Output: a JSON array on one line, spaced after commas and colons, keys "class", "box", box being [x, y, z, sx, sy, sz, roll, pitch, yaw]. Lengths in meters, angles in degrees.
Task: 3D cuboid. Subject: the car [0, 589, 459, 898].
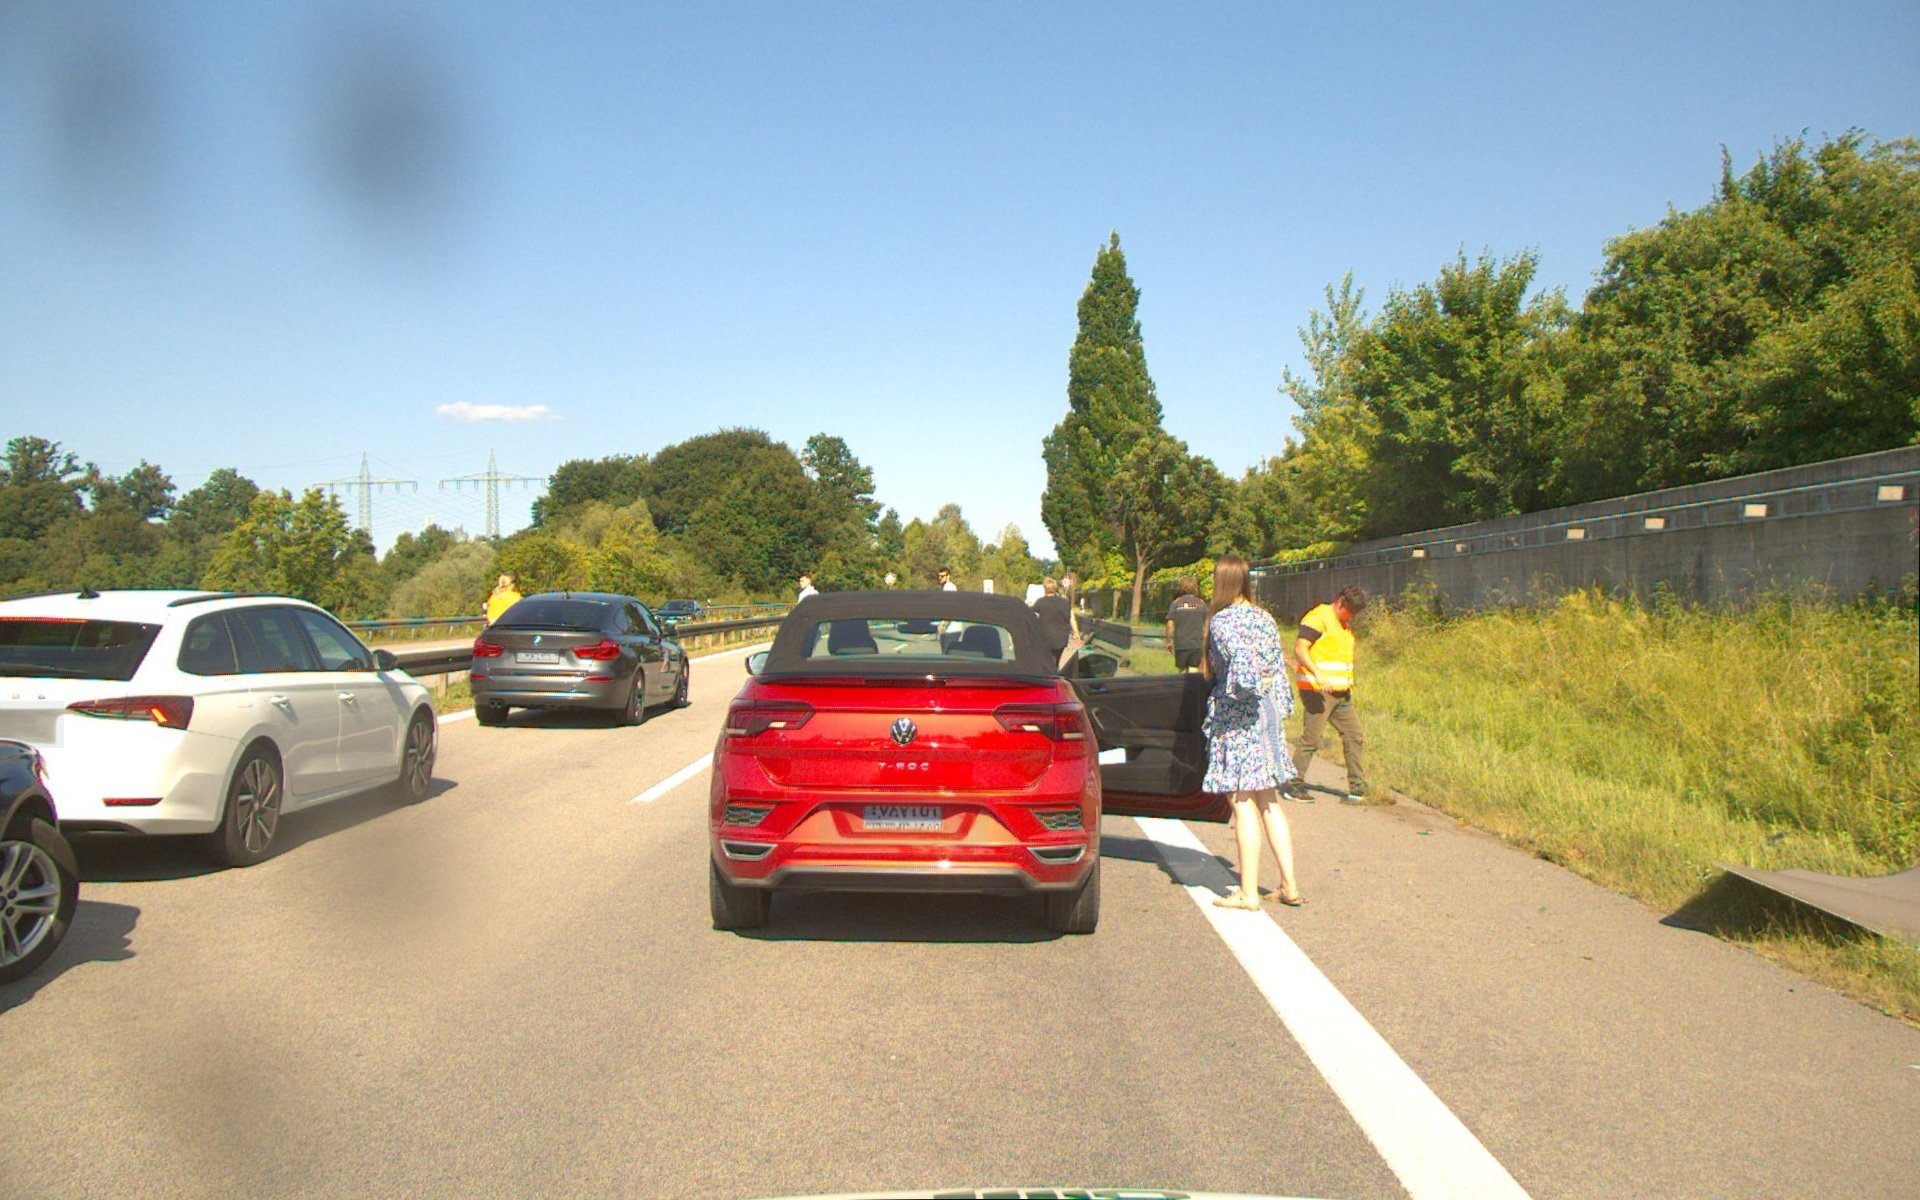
[{"class": "car", "box": [-4.523, 0.680, 10.048, 1.660, 1.467, 4.210, 1, 0, 0]}]

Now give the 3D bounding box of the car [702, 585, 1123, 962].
[{"class": "car", "box": [-0.190, 0.700, 8.854, 1.697, 1.513, 4.210, 1, 0, 0]}]

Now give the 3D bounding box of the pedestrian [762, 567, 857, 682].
[{"class": "pedestrian", "box": [-2.453, 0.387, 27.045, 1.086, 1.820, 1.086, 1, -1, 38]}]

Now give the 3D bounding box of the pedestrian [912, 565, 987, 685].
[{"class": "pedestrian", "box": [-0.182, 0.408, 27.648, 1.085, 1.946, 1.255, -1, 0, -8]}]

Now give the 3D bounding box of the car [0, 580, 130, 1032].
[{"class": "car", "box": [-3.957, 0.693, 4.433, 1.755, 1.519, 4.484, -1, -1, -8]}]

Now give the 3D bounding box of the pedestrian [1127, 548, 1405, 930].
[{"class": "pedestrian", "box": [1.485, 0.625, 8.179, 0.878, 1.725, 1.121, -1, 0, -23]}]

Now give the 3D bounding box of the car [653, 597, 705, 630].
[{"class": "car", "box": [-13.216, 0.620, 78.047, 1.677, 1.450, 4.406, 1, 0, 0]}]

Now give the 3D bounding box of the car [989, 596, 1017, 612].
[{"class": "car", "box": [4.228, 0.358, 162.162, 1.696, 1.513, 4.213, 1, 0, 16]}]

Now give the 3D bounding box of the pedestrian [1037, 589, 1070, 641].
[{"class": "pedestrian", "box": [3.180, 0.510, 56.019, 1.033, 1.719, 1.018, 1, 0, 7]}]

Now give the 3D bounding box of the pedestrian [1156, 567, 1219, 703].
[{"class": "pedestrian", "box": [3.063, 0.465, 22.310, 0.794, 1.790, 0.828, 1, -1, 7]}]

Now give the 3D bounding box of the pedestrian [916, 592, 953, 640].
[{"class": "pedestrian", "box": [-0.897, 0.579, 59.484, 0.950, 1.719, 1.117, 1, -1, 22]}]

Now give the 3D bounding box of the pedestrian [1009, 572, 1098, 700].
[{"class": "pedestrian", "box": [1.427, 0.538, 25.456, 1.072, 1.916, 1.064, -1, 0, -16]}]

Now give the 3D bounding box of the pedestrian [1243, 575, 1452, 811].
[{"class": "pedestrian", "box": [2.934, 0.662, 12.610, 0.947, 1.682, 1.265, -1, 0, -30]}]

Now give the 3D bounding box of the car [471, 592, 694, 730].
[{"class": "car", "box": [-4.378, 0.648, 19.842, 1.660, 1.451, 4.334, 1, 0, 0]}]

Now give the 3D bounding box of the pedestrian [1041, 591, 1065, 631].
[{"class": "pedestrian", "box": [4.046, 0.486, 71.951, 0.975, 1.719, 1.011, 1, 0, 3]}]

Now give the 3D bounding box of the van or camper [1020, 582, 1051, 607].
[{"class": "van or camper", "box": [7.352, -0.486, 161.078, 1.951, 2.356, 4.473, 1, 0, 16]}]

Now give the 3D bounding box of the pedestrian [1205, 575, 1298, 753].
[{"class": "pedestrian", "box": [2.971, 0.639, 16.925, 0.875, 1.755, 0.755, 1, -1, 7]}]

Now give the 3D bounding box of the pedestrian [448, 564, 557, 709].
[{"class": "pedestrian", "box": [-5.845, 0.458, 21.182, 1.019, 1.794, 1.119, -1, 0, 3]}]

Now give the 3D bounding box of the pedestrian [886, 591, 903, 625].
[{"class": "pedestrian", "box": [-3.424, 0.419, 86.039, 0.775, 1.719, 0.793, 1, -1, 5]}]
